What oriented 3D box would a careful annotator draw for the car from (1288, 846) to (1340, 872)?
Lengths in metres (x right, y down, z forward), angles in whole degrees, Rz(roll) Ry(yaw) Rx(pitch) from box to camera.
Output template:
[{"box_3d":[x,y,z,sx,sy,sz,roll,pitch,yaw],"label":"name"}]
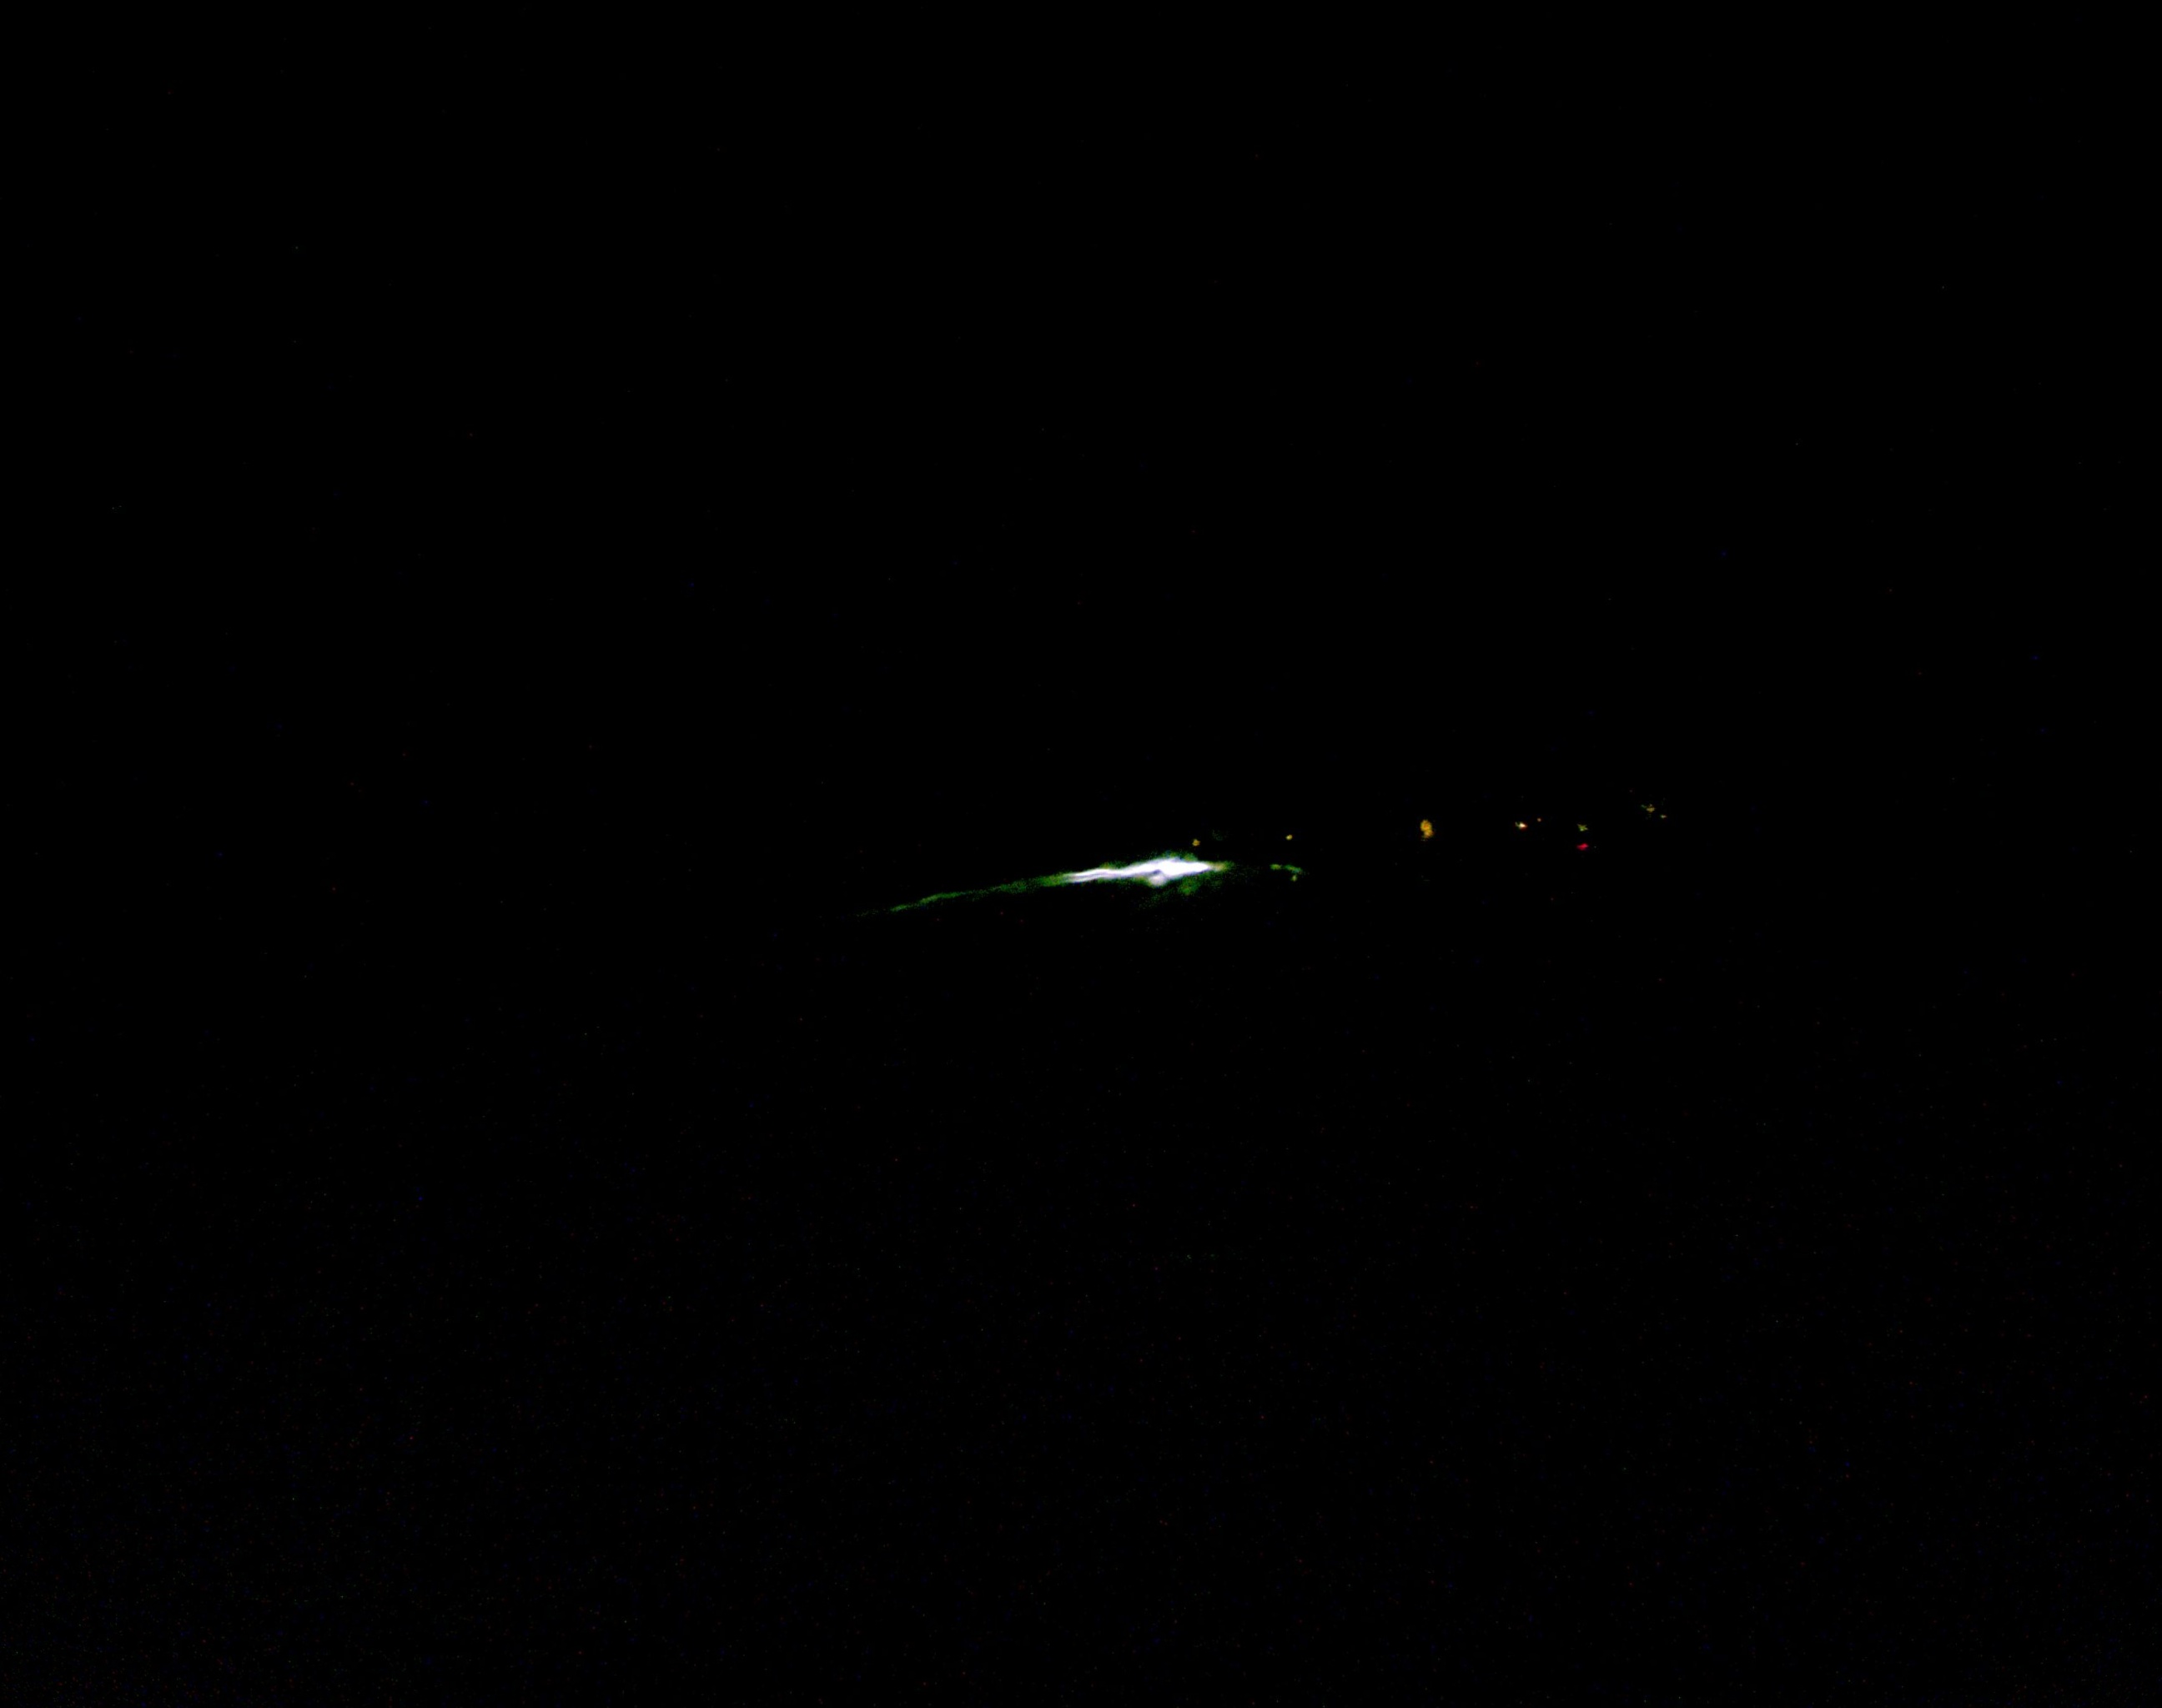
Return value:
[{"box_3d":[16.810,0.352,54.701,1.994,1.737,4.109,-2,-1,42],"label":"car"}]
